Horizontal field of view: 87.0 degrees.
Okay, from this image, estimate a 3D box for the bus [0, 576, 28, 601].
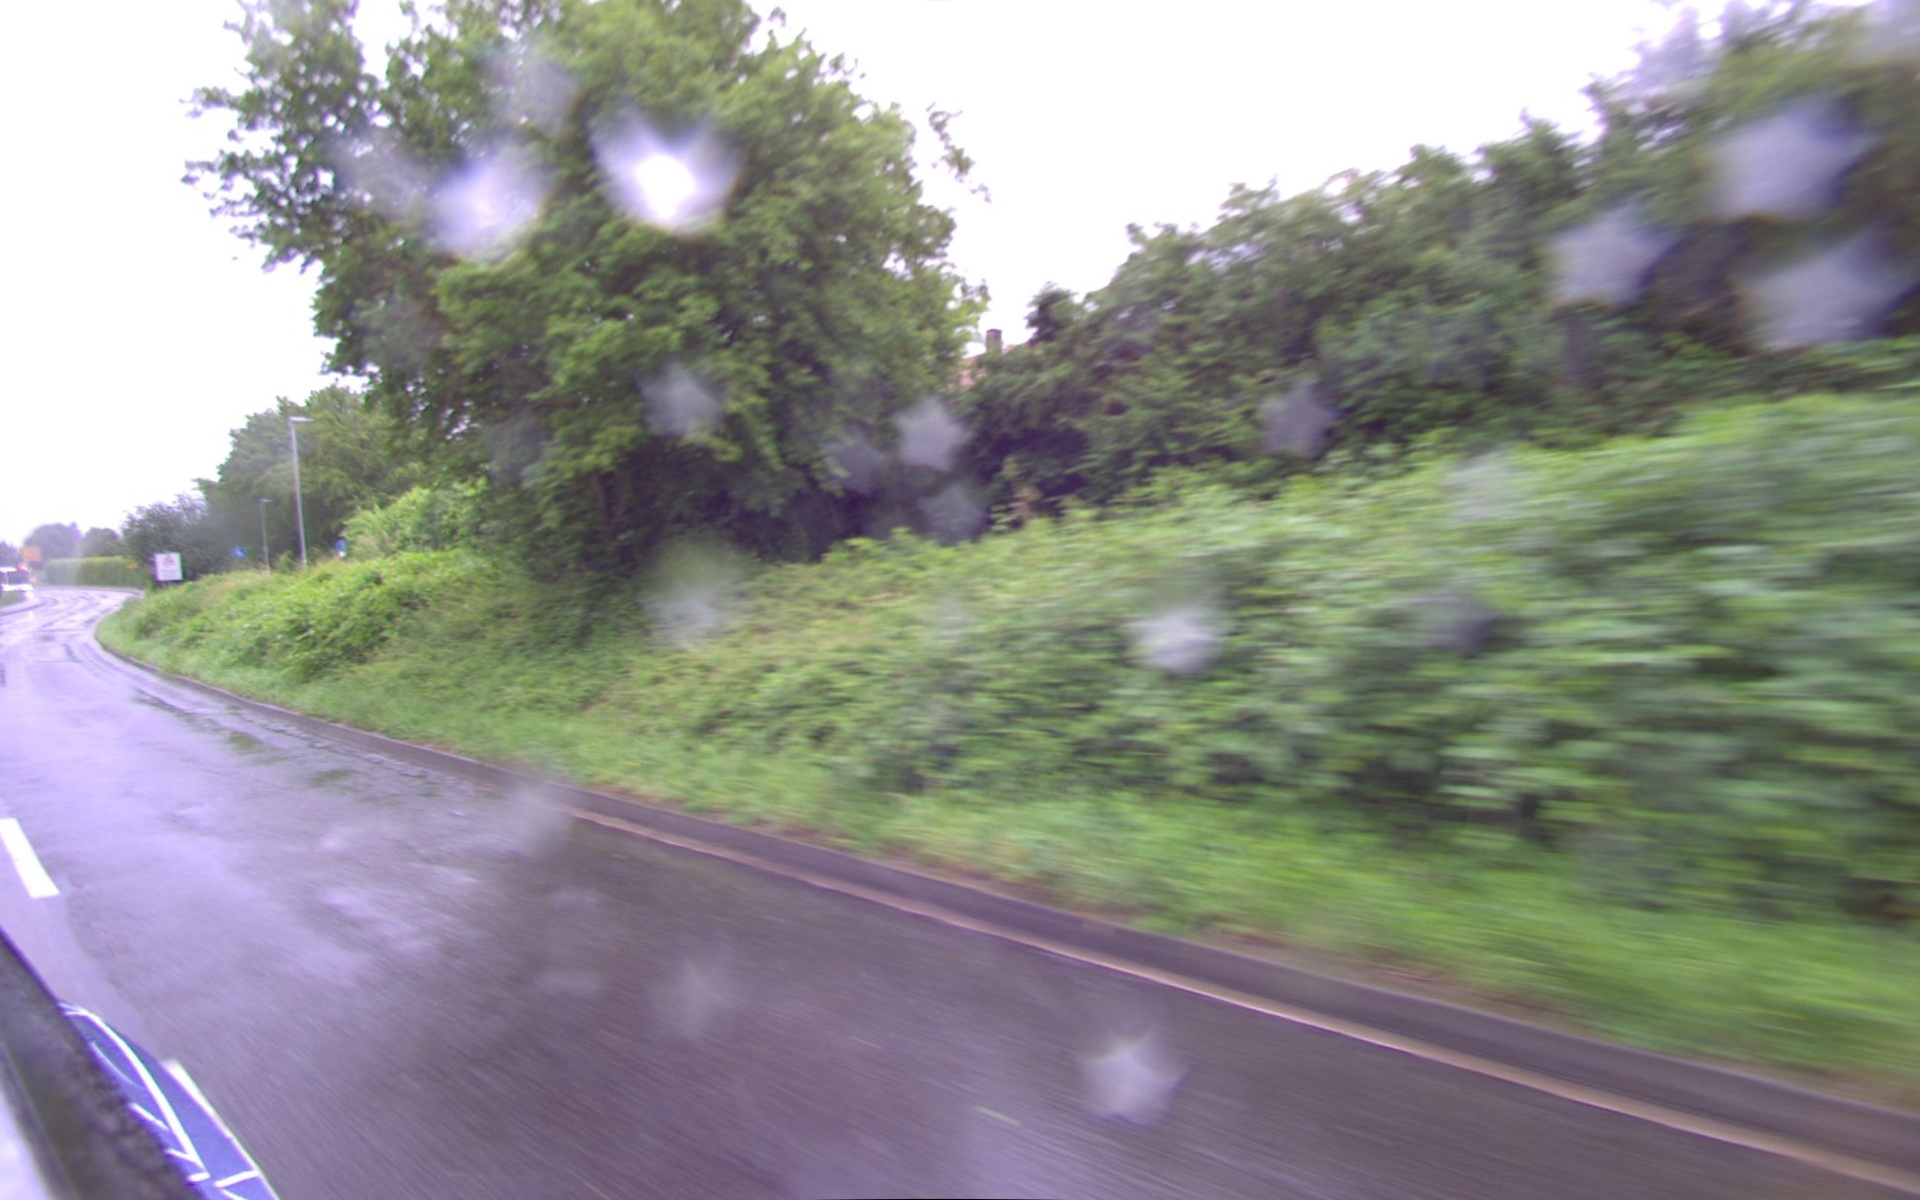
[{"bbox_3d":[-125.547,-1.604,133.899,9.999,3.099,2.640,2,4,44],"label":"bus"}]
